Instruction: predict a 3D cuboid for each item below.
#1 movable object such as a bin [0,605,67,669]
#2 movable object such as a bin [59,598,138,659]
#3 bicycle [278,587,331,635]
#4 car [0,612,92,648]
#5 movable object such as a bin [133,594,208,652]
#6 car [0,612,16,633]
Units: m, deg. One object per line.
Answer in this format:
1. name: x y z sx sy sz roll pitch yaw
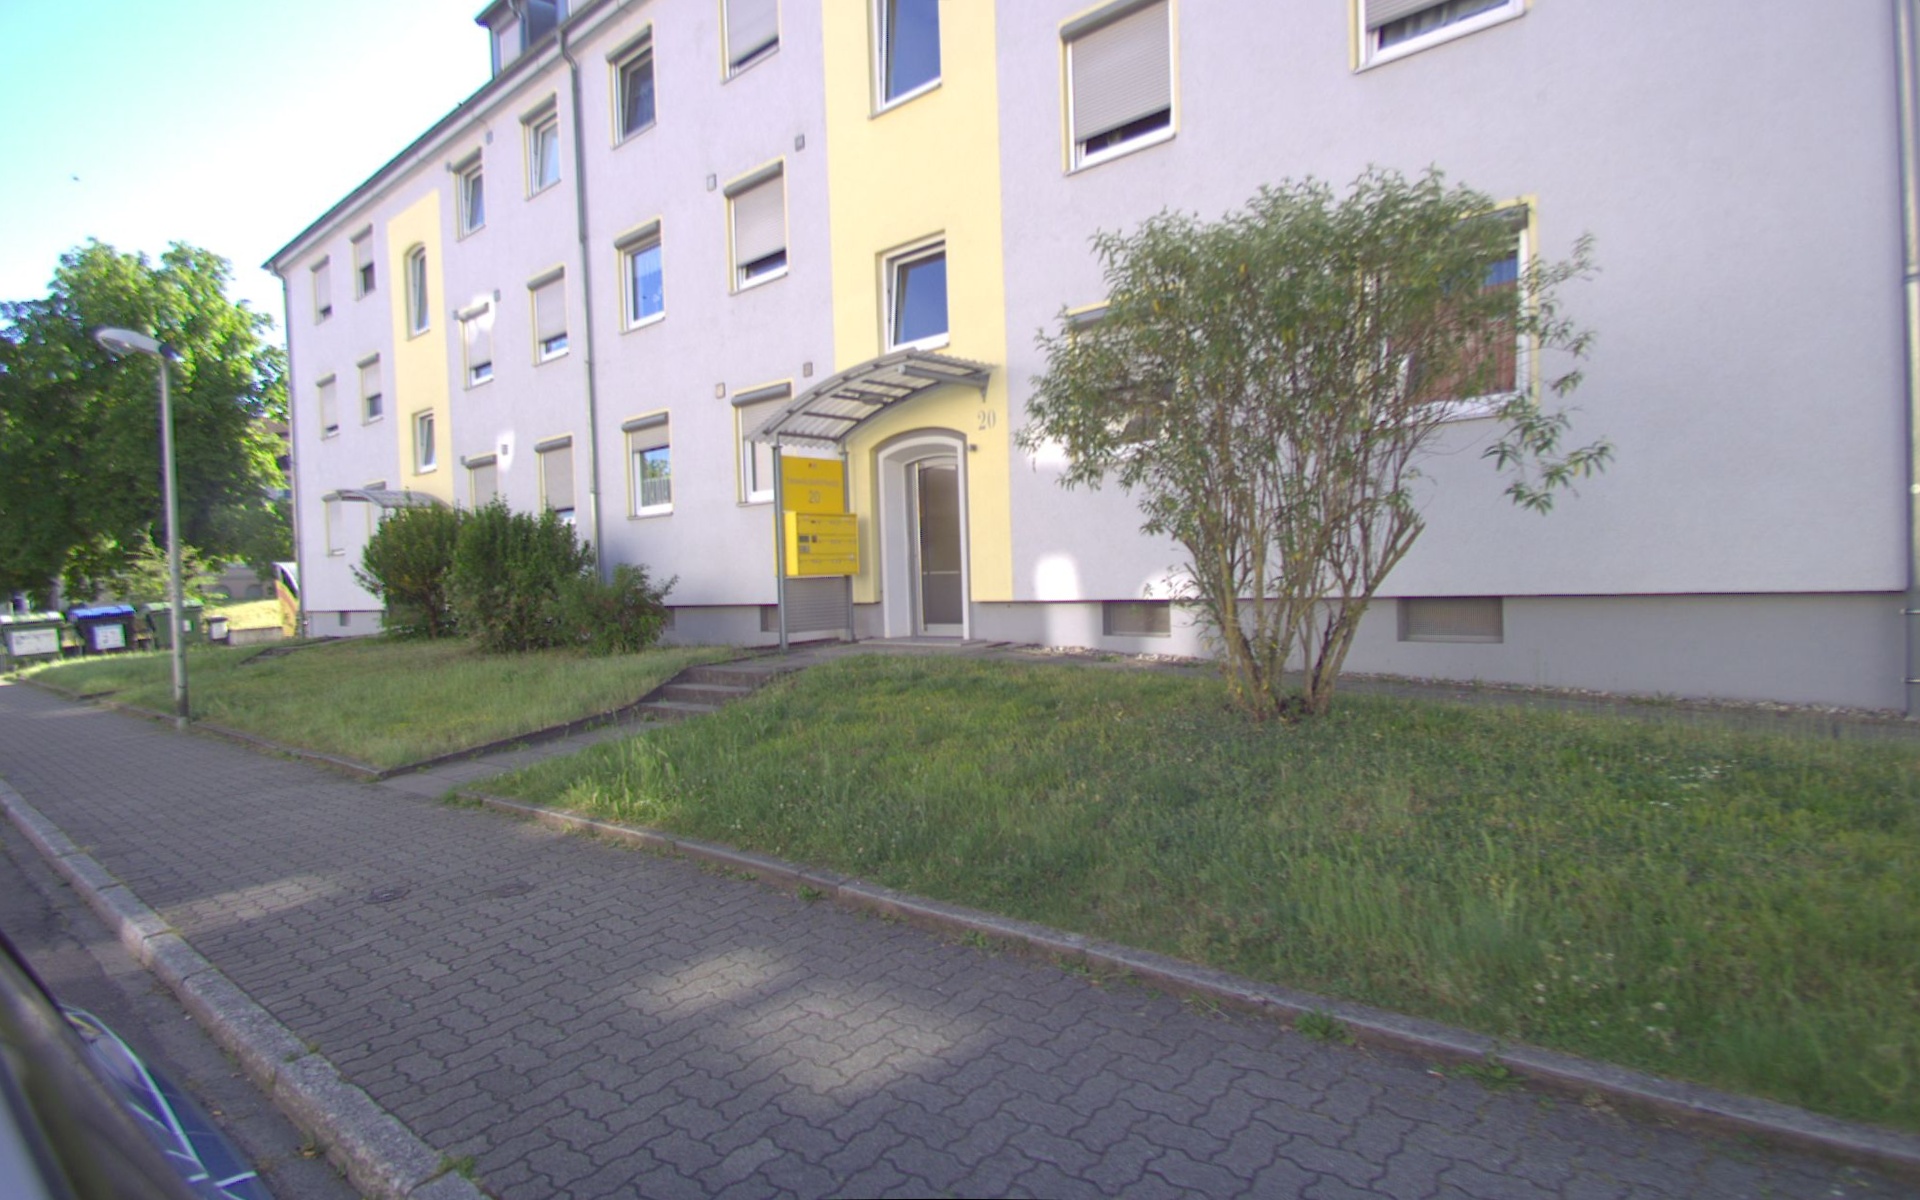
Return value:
1. movable object such as a bin: -24.250 0.952 26.271 1.198 1.470 1.302 -1 5 41
2. movable object such as a bin: -23.349 0.756 27.426 1.082 1.469 1.342 -1 6 41
3. bicycle: -18.180 0.296 28.054 2.008 1.259 0.633 -1 2 42
4. car: -44.532 1.447 48.606 1.728 1.508 4.087 -1 1 41
5. movable object such as a bin: -22.342 0.637 28.633 1.072 1.463 1.347 -1 6 41
6. car: -70.397 1.704 72.660 1.624 1.456 3.737 -1 1 43
